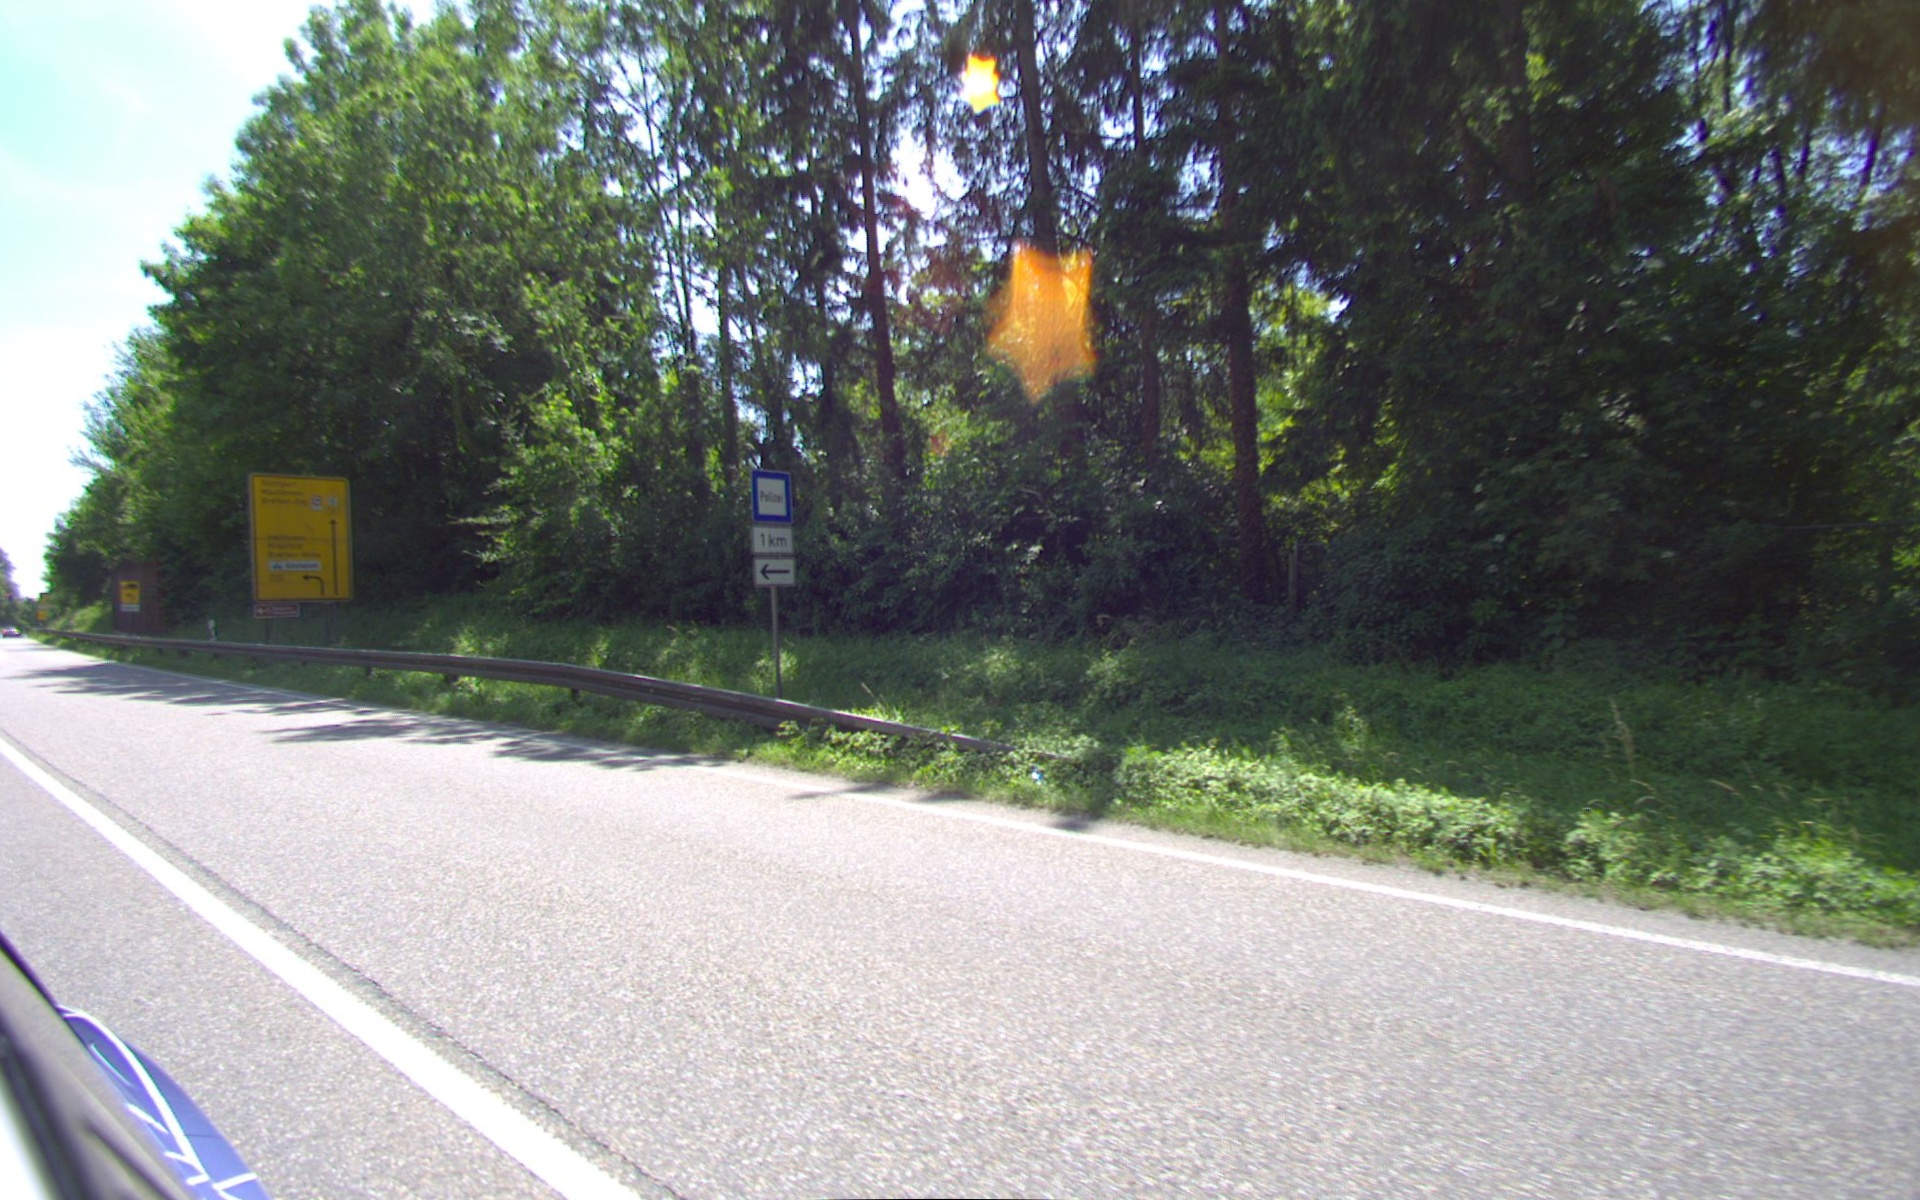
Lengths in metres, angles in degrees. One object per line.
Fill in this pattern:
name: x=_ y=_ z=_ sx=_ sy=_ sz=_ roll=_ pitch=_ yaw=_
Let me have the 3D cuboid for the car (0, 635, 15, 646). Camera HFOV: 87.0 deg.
car: x=-126.962 y=5.345 z=134.574 sx=1.785 sy=1.446 sz=3.873 roll=1 pitch=-2 yaw=-45
